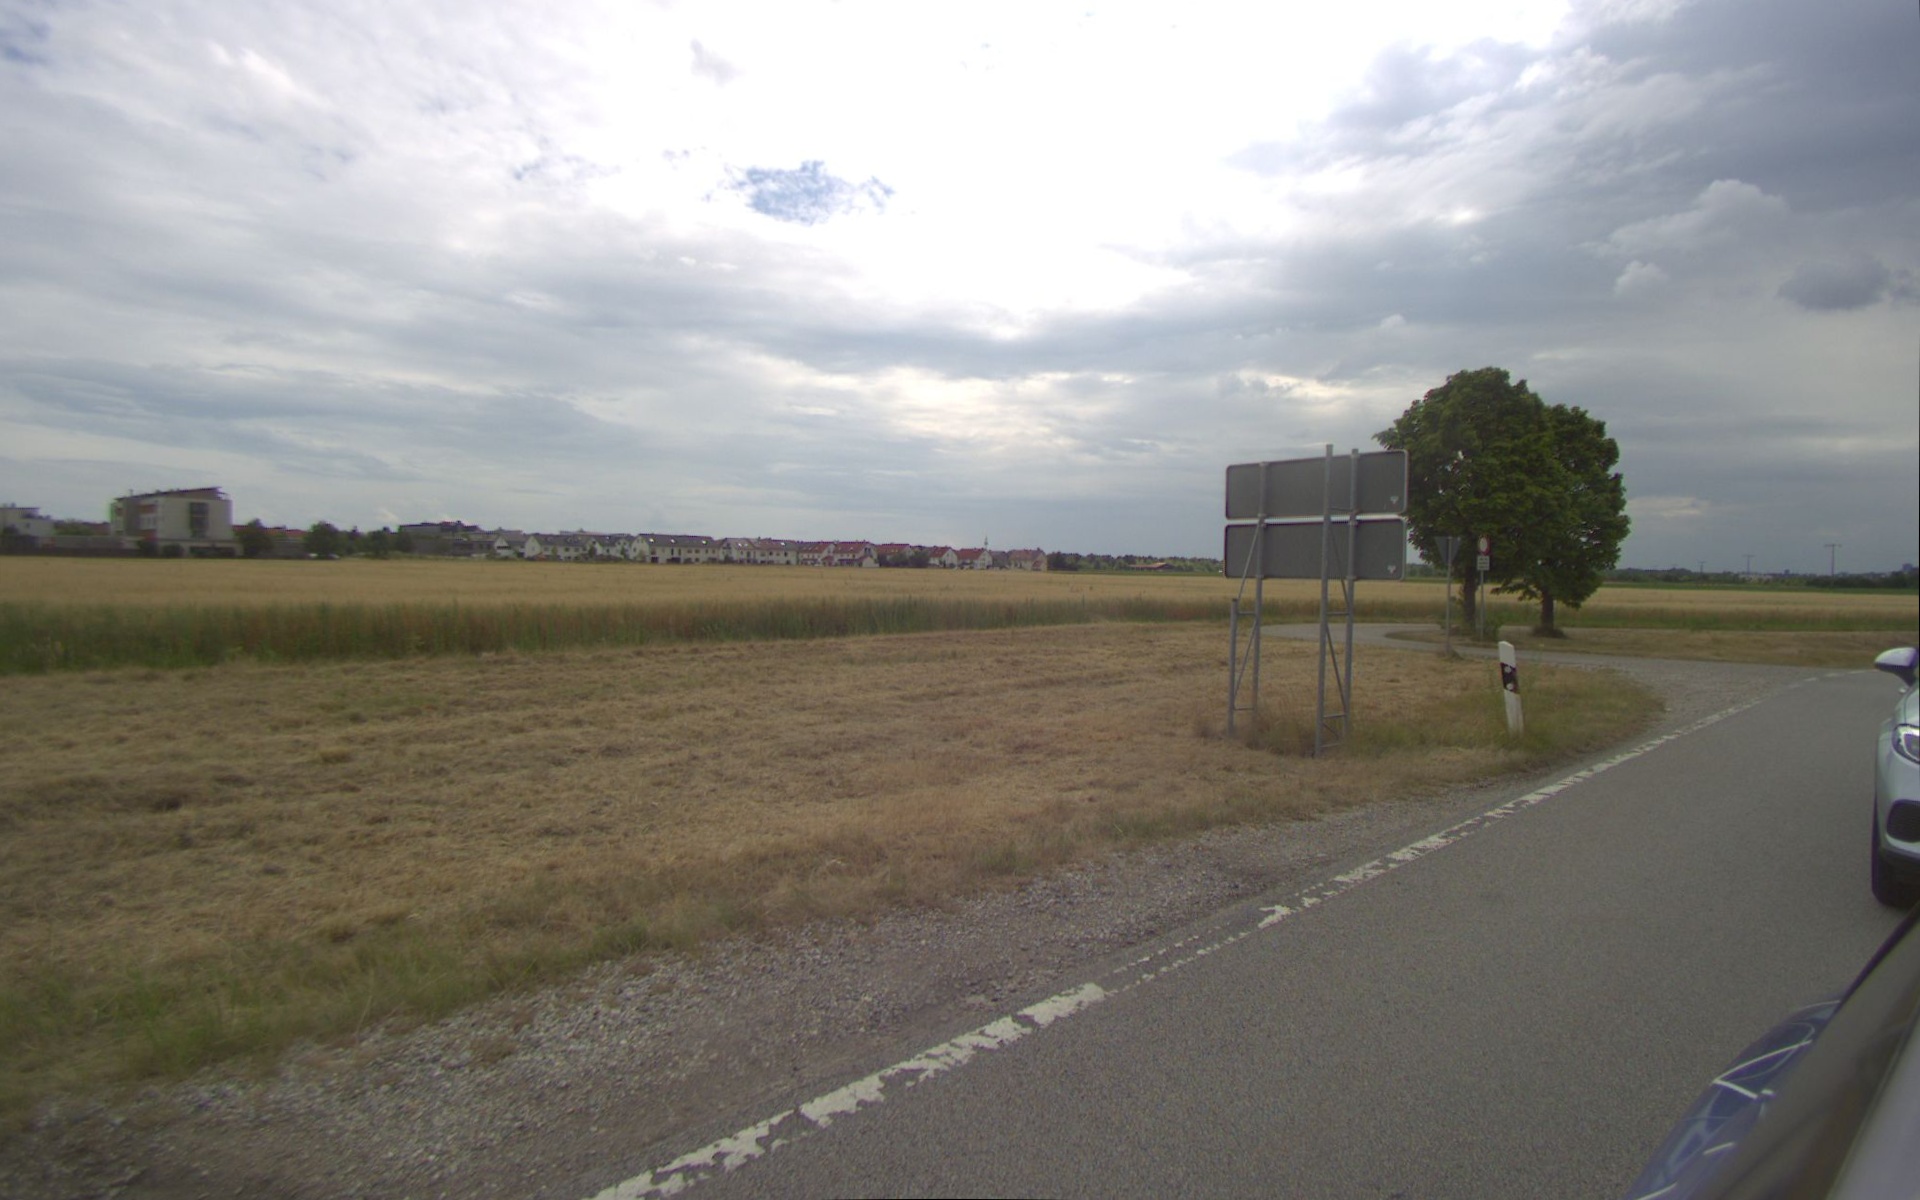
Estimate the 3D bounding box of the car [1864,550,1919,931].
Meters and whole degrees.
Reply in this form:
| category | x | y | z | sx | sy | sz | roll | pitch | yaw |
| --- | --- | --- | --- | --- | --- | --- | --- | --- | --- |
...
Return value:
| category | x | y | z | sx | sy | sz | roll | pitch | yaw |
| --- | --- | --- | --- | --- | --- | --- | --- | --- | --- |
| car | 6.139 | 0.603 | 5.229 | 4.376 | 1.606 | 1.834 | 0 | 1 | -44 |
